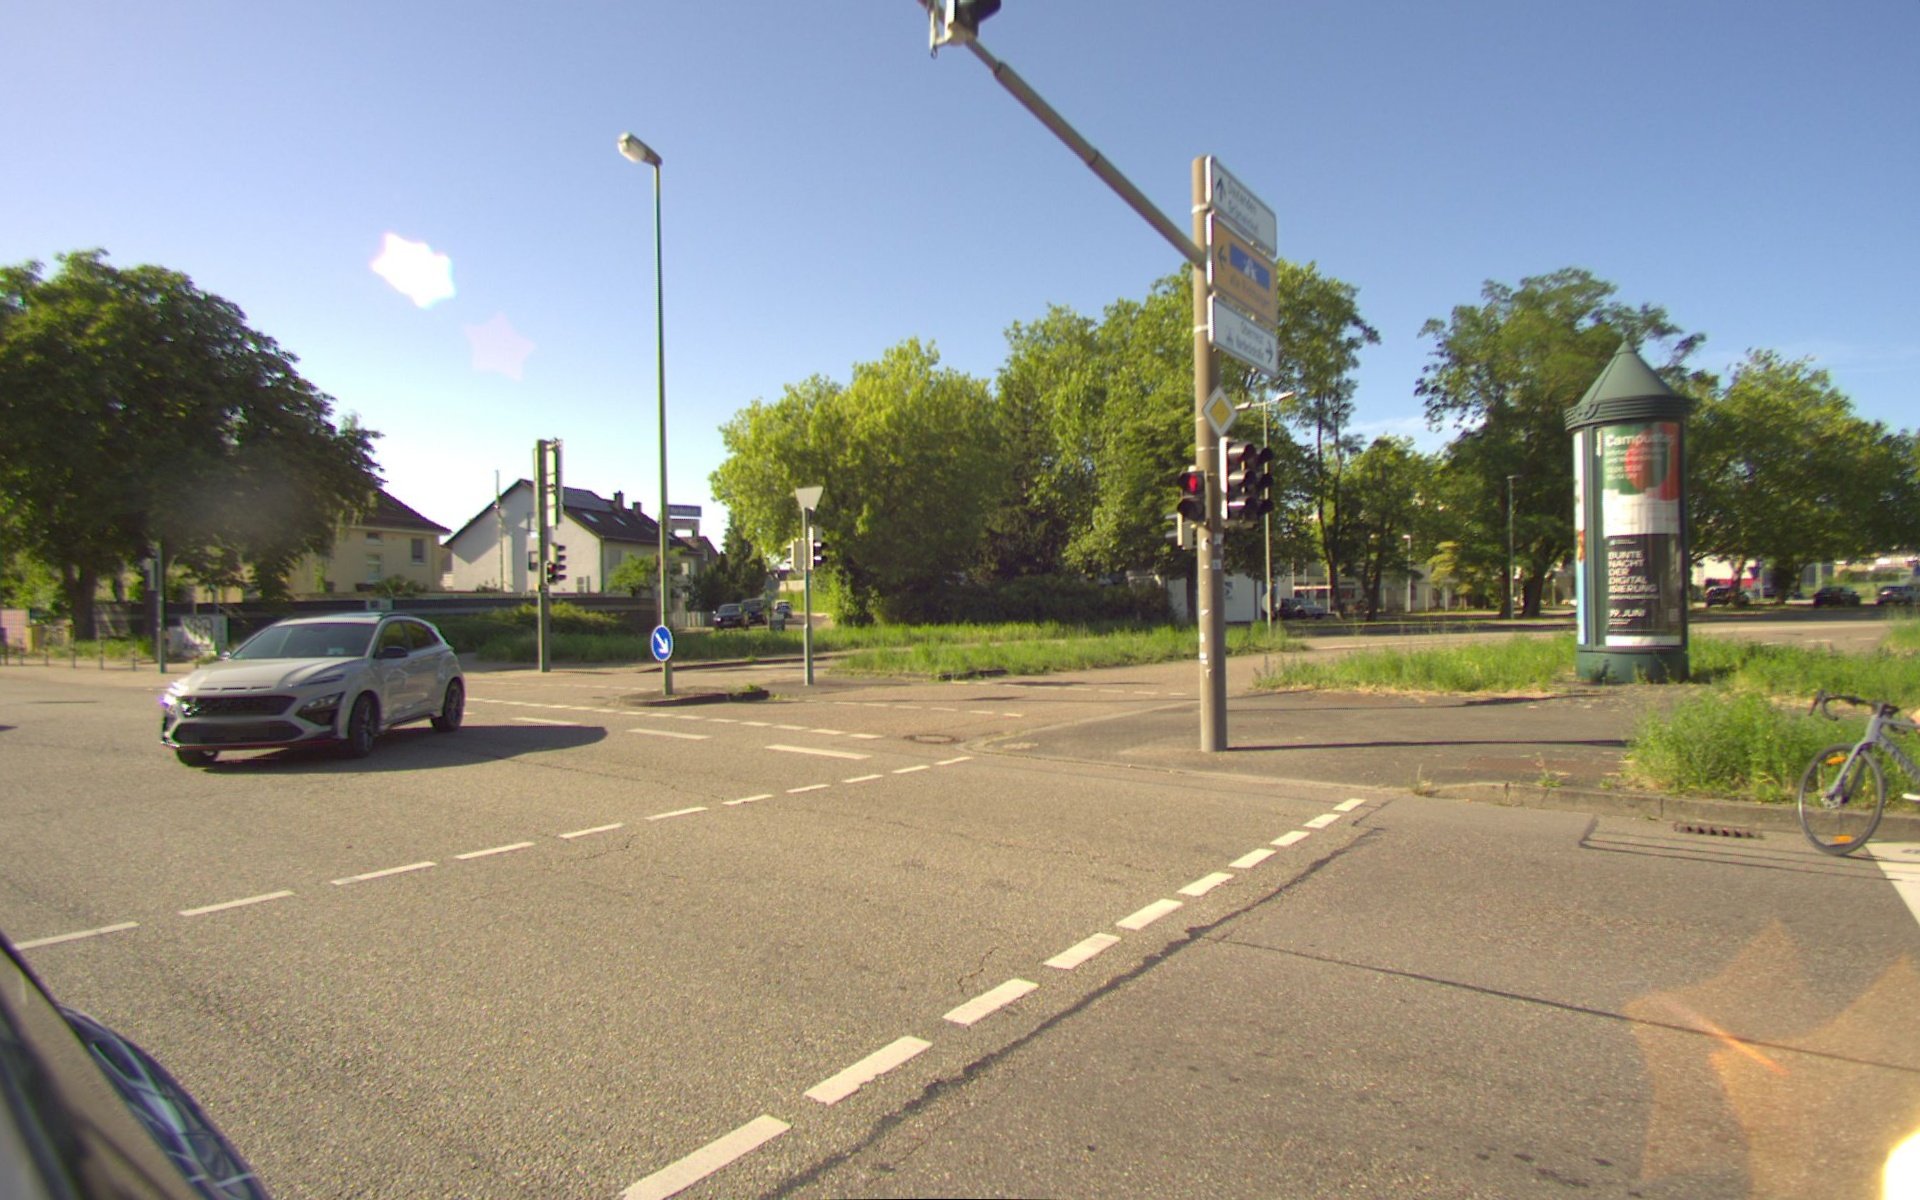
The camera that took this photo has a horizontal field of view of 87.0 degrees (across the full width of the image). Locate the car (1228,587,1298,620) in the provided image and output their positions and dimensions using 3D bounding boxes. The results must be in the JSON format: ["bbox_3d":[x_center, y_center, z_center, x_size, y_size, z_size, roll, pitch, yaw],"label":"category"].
[{"bbox_3d":[20.229,0.228,67.620,1.969,2.029,4.006,-1,-1,-40],"label":"car"}]

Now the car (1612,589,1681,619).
[{"bbox_3d":[44.886,0.238,66.150,3.931,1.809,2.016,-2,-1,-27],"label":"car"}]

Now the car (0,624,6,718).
[{"bbox_3d":[-15.812,1.089,13.873,1.835,1.481,4.144,1,-1,-6],"label":"car"}]

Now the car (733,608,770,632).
[{"bbox_3d":[-14.887,1.422,72.409,1.935,1.679,4.001,-1,-1,-1],"label":"car"}]

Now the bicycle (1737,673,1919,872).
[{"bbox_3d":[5.813,0.960,5.709,2.192,1.024,0.929,-3,-1,36],"label":"bicycle"}]

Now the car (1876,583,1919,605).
[{"bbox_3d":[64.883,-0.417,69.645,3.424,1.451,1.878,-2,1,-31],"label":"car"}]

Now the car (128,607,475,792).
[{"bbox_3d":[-7.376,0.983,11.894,1.690,1.658,4.060,-2,1,-5],"label":"car"}]

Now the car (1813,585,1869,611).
[{"bbox_3d":[58.988,-0.168,67.739,3.932,1.631,1.743,-2,1,-31],"label":"car"}]

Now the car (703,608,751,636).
[{"bbox_3d":[-13.967,1.315,60.909,1.972,1.568,4.001,-2,-1,-1],"label":"car"}]

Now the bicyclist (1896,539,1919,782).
[{"bbox_3d":[5.891,0.349,5.642,0.821,1.412,0.925,-3,-1,36],"label":"bicyclist"}]
